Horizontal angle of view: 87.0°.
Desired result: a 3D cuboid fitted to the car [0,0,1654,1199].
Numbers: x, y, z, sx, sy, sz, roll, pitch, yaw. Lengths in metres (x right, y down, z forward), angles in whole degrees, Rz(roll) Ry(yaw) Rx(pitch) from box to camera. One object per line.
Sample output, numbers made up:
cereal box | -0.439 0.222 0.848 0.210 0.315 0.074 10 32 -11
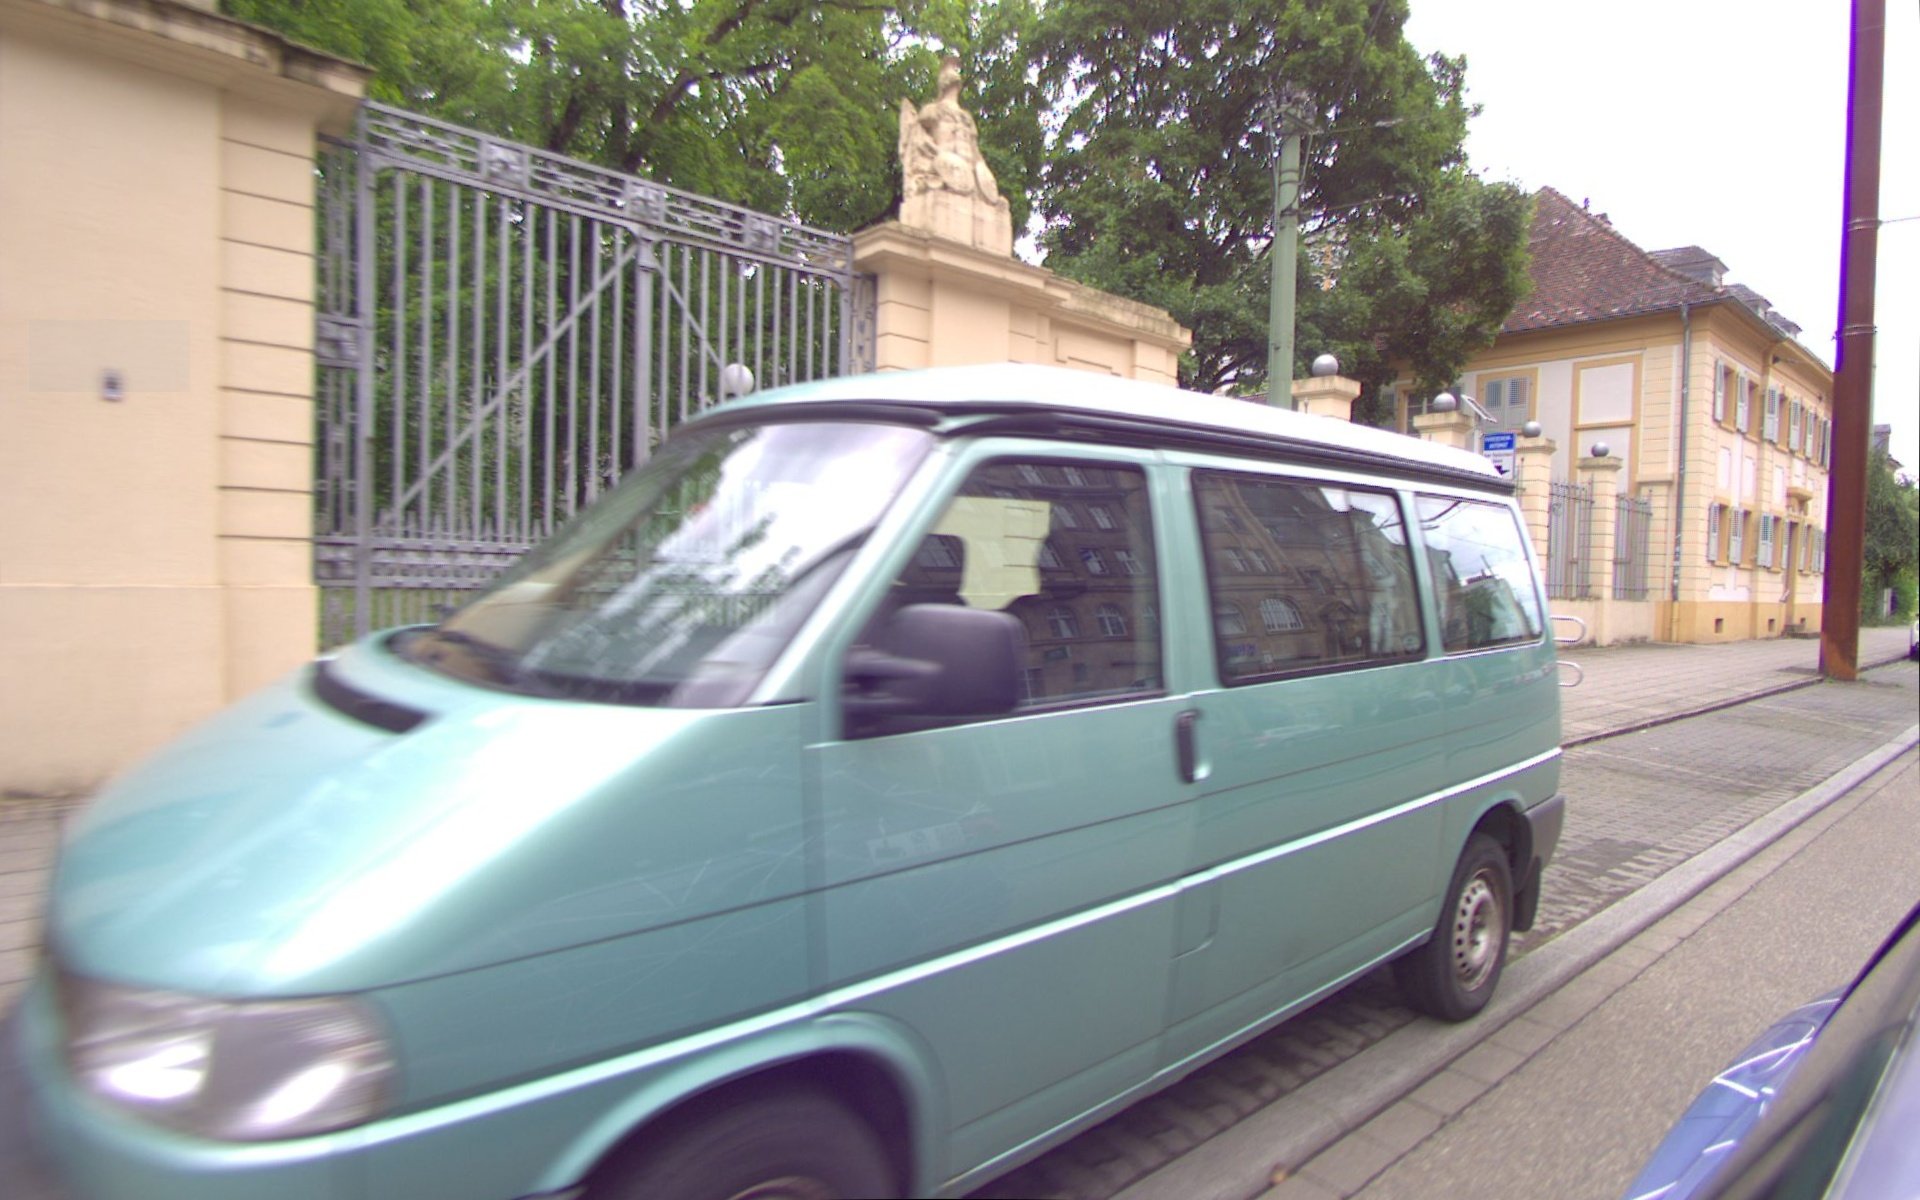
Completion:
car | 0.232 0.279 3.140 4.897 2.140 1.856 0 5 -41

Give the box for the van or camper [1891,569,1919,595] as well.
van or camper | 102.569 -1.874 106.777 2.373 2.643 6.064 0 2 -10
